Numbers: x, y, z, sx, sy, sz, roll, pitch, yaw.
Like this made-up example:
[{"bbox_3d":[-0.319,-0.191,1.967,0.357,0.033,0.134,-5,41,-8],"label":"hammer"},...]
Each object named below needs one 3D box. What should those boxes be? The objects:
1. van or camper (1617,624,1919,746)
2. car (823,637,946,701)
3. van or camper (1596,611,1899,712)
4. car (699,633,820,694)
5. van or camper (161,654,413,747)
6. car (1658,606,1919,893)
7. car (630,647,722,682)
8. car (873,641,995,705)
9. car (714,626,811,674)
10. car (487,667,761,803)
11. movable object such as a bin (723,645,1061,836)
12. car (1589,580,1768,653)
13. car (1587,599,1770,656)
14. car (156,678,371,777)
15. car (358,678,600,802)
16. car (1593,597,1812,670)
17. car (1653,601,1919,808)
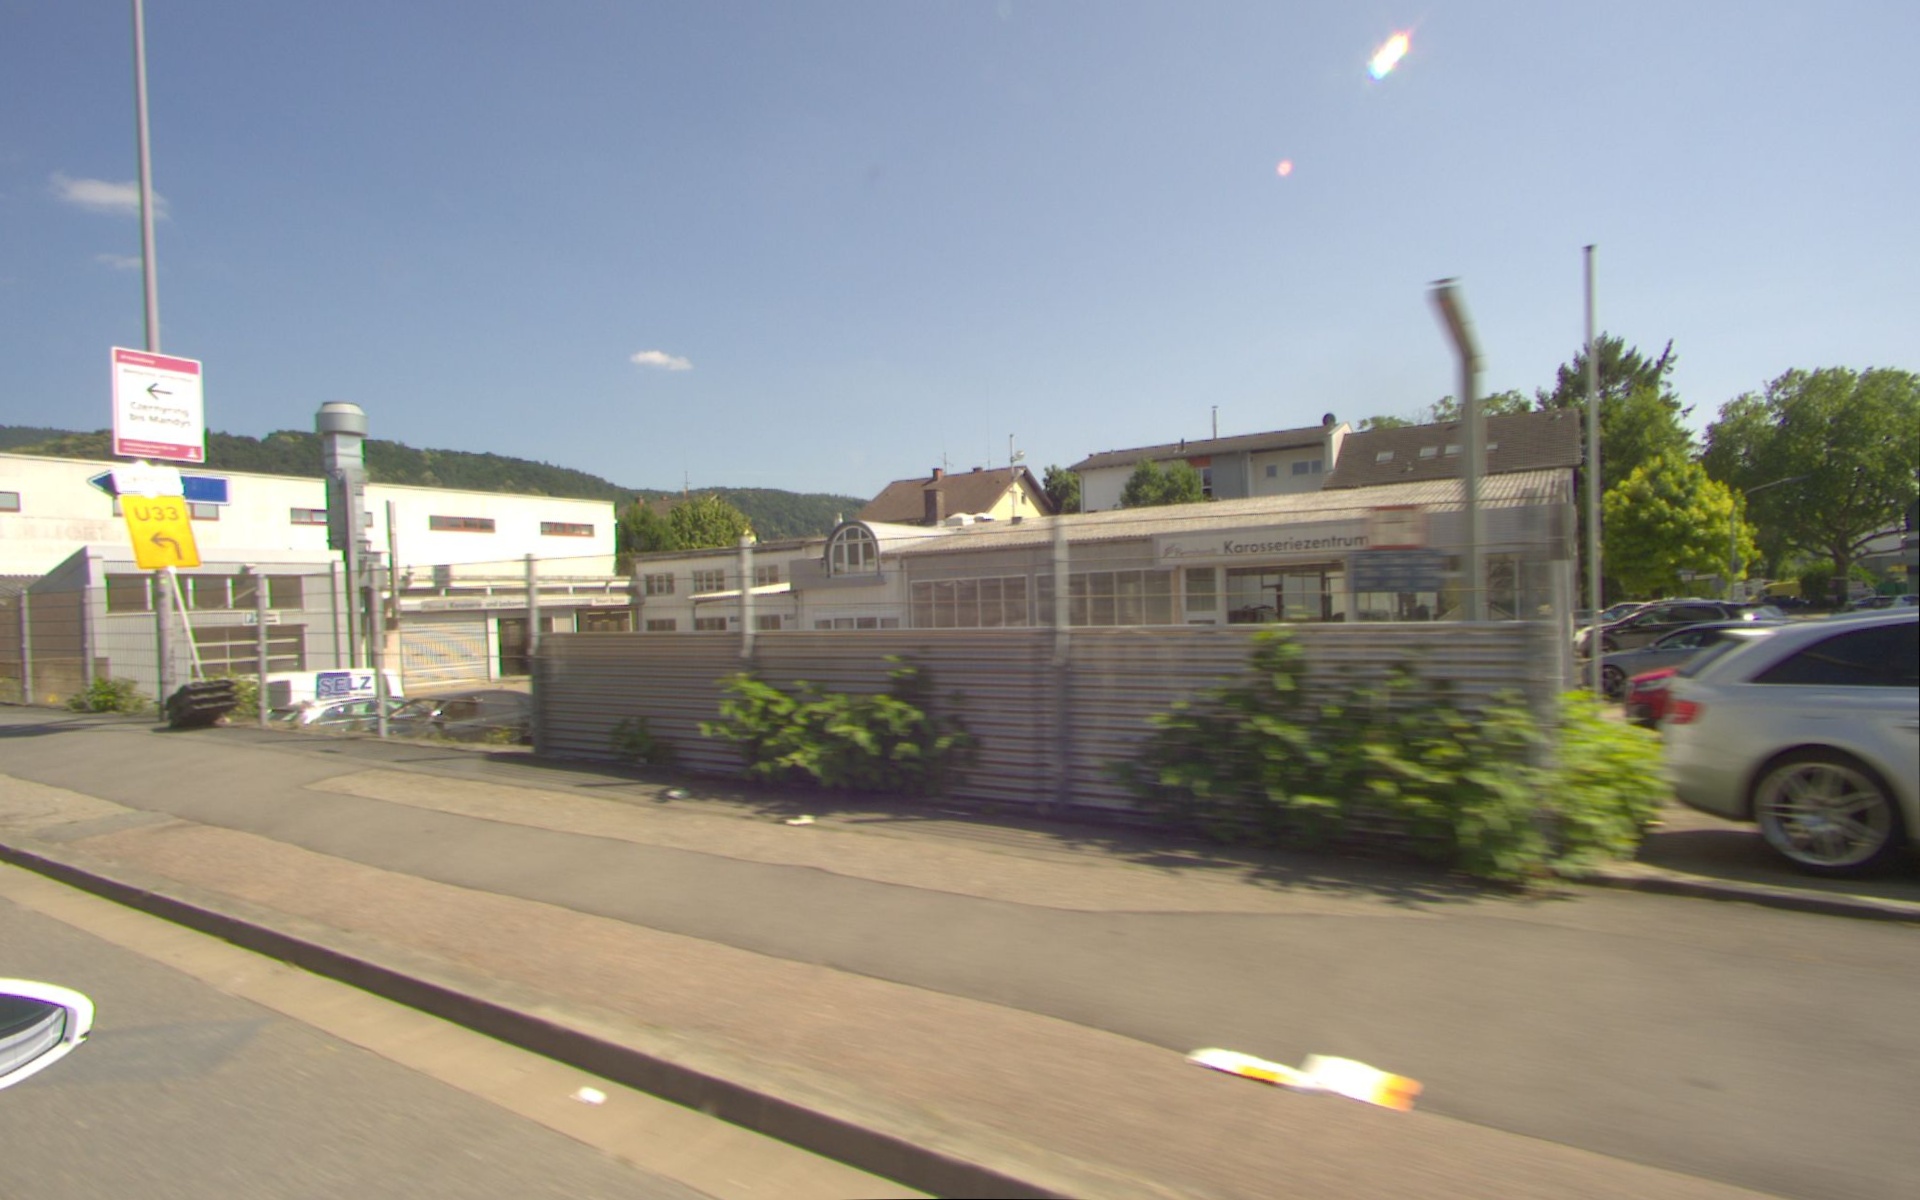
[{"bbox_3d":[10.864,1.071,12.658,4.167,1.367,1.993,0,-5,31],"label":"van or camper"},{"bbox_3d":[-2.325,2.155,31.889,1.970,1.684,3.981,-3,0,29],"label":"car"},{"bbox_3d":[15.254,1.118,19.642,1.971,1.564,4.207,-6,2,-31],"label":"van or camper"},{"bbox_3d":[-6.839,2.128,34.565,1.970,1.685,3.980,0,2,29],"label":"car"},{"bbox_3d":[-15.054,2.164,22.671,1.989,1.673,4.309,-1,0,28],"label":"van or camper"},{"bbox_3d":[5.966,0.708,4.321,1.929,1.375,4.479,3,-4,-28],"label":"car"},{"bbox_3d":[-12.758,2.889,45.221,1.843,1.422,3.821,-3,-3,29],"label":"car"},{"bbox_3d":[-0.686,2.139,29.853,1.820,1.535,3.981,-3,0,29],"label":"car"},{"bbox_3d":[-8.351,2.088,42.700,1.888,1.880,3.982,-1,-1,30],"label":"car"},{"bbox_3d":[-5.397,2.083,16.566,1.970,1.673,3.981,-1,0,30],"label":"car"},{"bbox_3d":[-0.637,1.641,13.535,1.971,2.039,5.108,0,-2,32],"label":"movable object such as a bin"},{"bbox_3d":[21.630,0.539,30.297,1.974,2.039,3.975,1,-2,-34],"label":"car"},{"bbox_3d":[20.084,0.791,28.160,1.768,1.482,3.808,1,-2,-29],"label":"car"},{"bbox_3d":[-17.112,3.044,24.805,1.824,2.039,3.982,0,-2,31],"label":"car"},{"bbox_3d":[-9.592,2.689,20.270,1.971,2.039,3.982,0,-2,31],"label":"car"},{"bbox_3d":[18.633,0.782,25.329,1.970,1.669,3.980,1,0,-28],"label":"car"},{"bbox_3d":[8.229,0.776,7.884,4.441,1.524,1.844,0,1,32],"label":"car"}]
